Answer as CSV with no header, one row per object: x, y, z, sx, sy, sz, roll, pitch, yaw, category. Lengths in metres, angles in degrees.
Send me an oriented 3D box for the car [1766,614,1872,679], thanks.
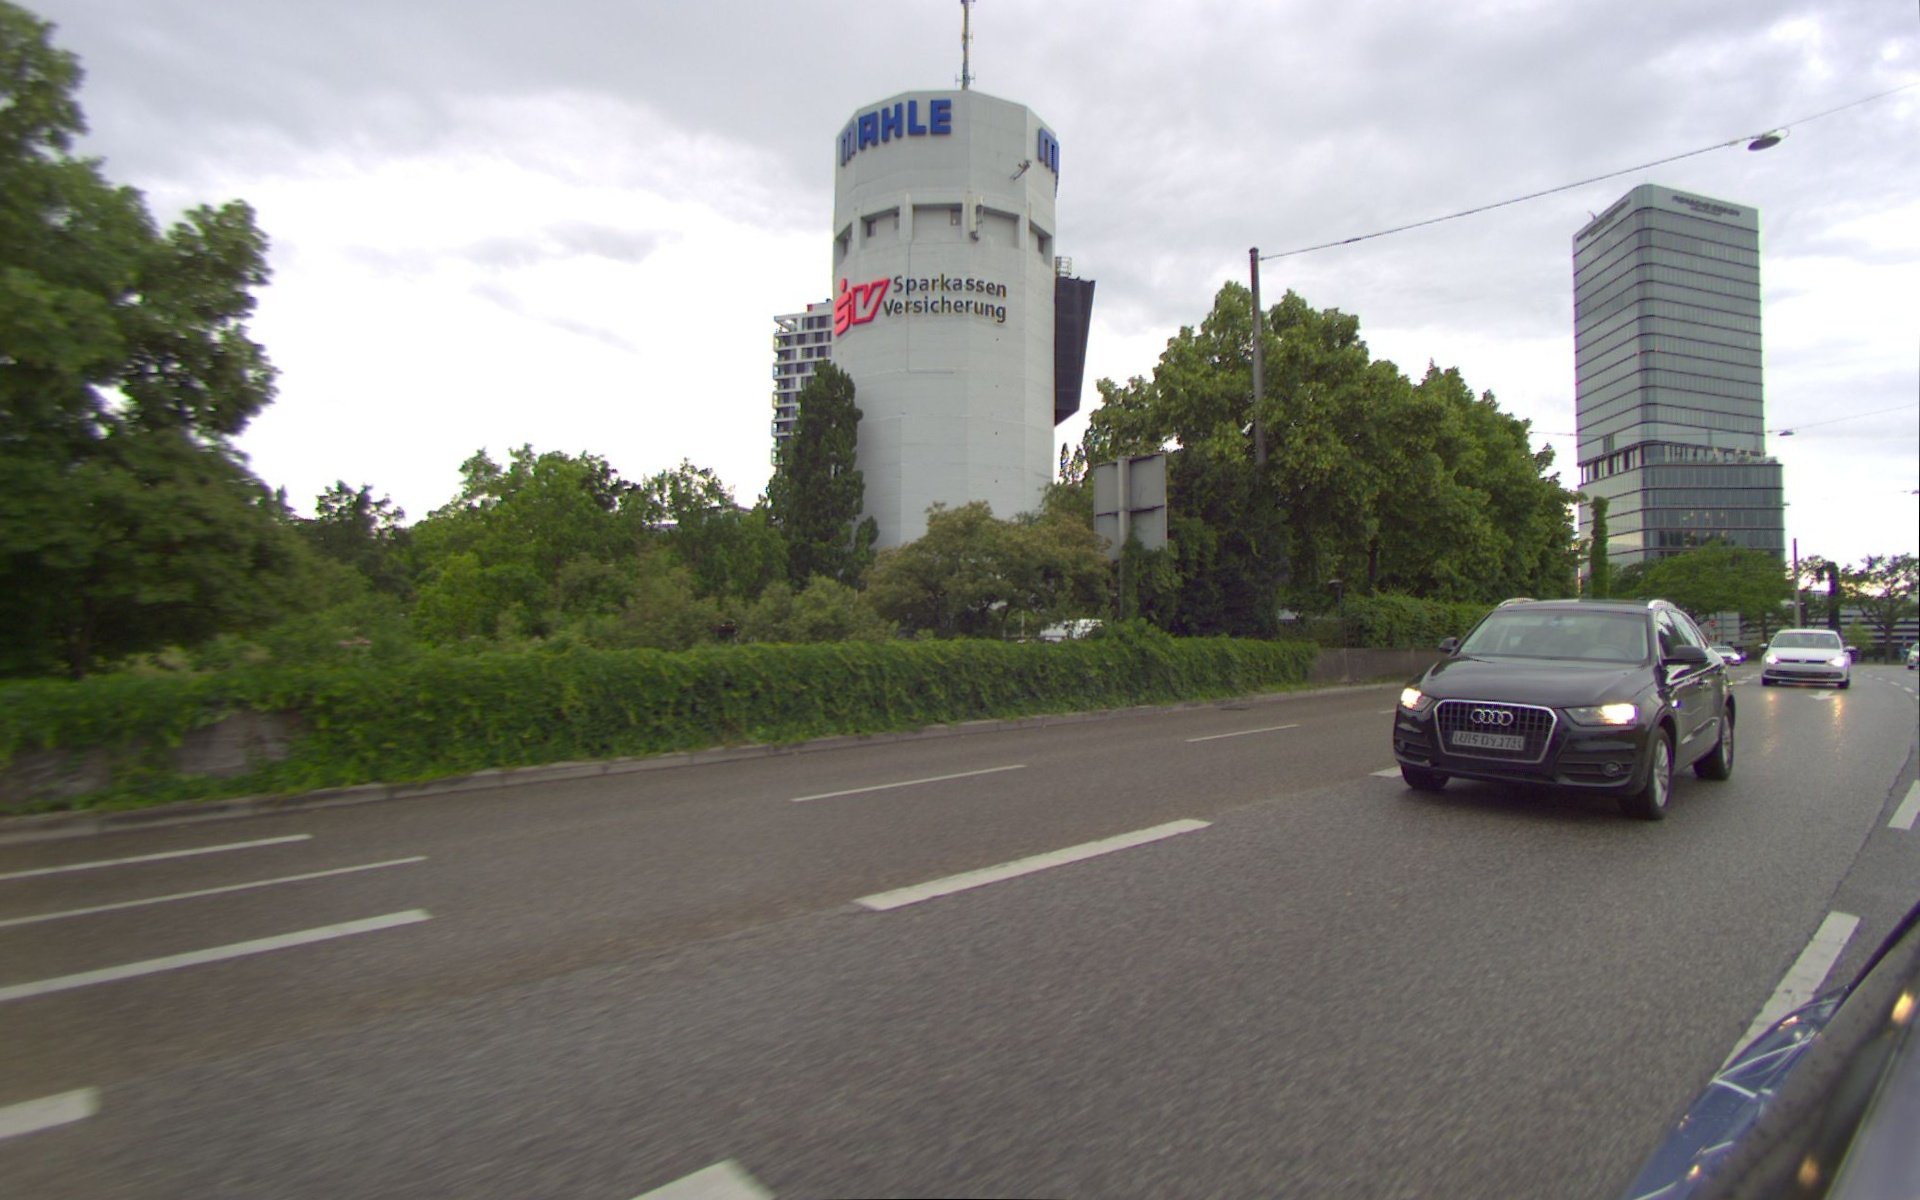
21.789,1.176,25.629,1.725,1.492,4.195,-4,-4,44,car

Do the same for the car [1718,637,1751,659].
55.827,3.444,72.898,1.629,1.495,3.621,-2,-3,41,car

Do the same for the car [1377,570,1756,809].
5.305,0.625,8.622,4.057,1.554,1.726,1,-3,-44,car

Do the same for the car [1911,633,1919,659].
54.805,2.614,57.101,1.539,1.448,3.745,-2,-3,44,car
